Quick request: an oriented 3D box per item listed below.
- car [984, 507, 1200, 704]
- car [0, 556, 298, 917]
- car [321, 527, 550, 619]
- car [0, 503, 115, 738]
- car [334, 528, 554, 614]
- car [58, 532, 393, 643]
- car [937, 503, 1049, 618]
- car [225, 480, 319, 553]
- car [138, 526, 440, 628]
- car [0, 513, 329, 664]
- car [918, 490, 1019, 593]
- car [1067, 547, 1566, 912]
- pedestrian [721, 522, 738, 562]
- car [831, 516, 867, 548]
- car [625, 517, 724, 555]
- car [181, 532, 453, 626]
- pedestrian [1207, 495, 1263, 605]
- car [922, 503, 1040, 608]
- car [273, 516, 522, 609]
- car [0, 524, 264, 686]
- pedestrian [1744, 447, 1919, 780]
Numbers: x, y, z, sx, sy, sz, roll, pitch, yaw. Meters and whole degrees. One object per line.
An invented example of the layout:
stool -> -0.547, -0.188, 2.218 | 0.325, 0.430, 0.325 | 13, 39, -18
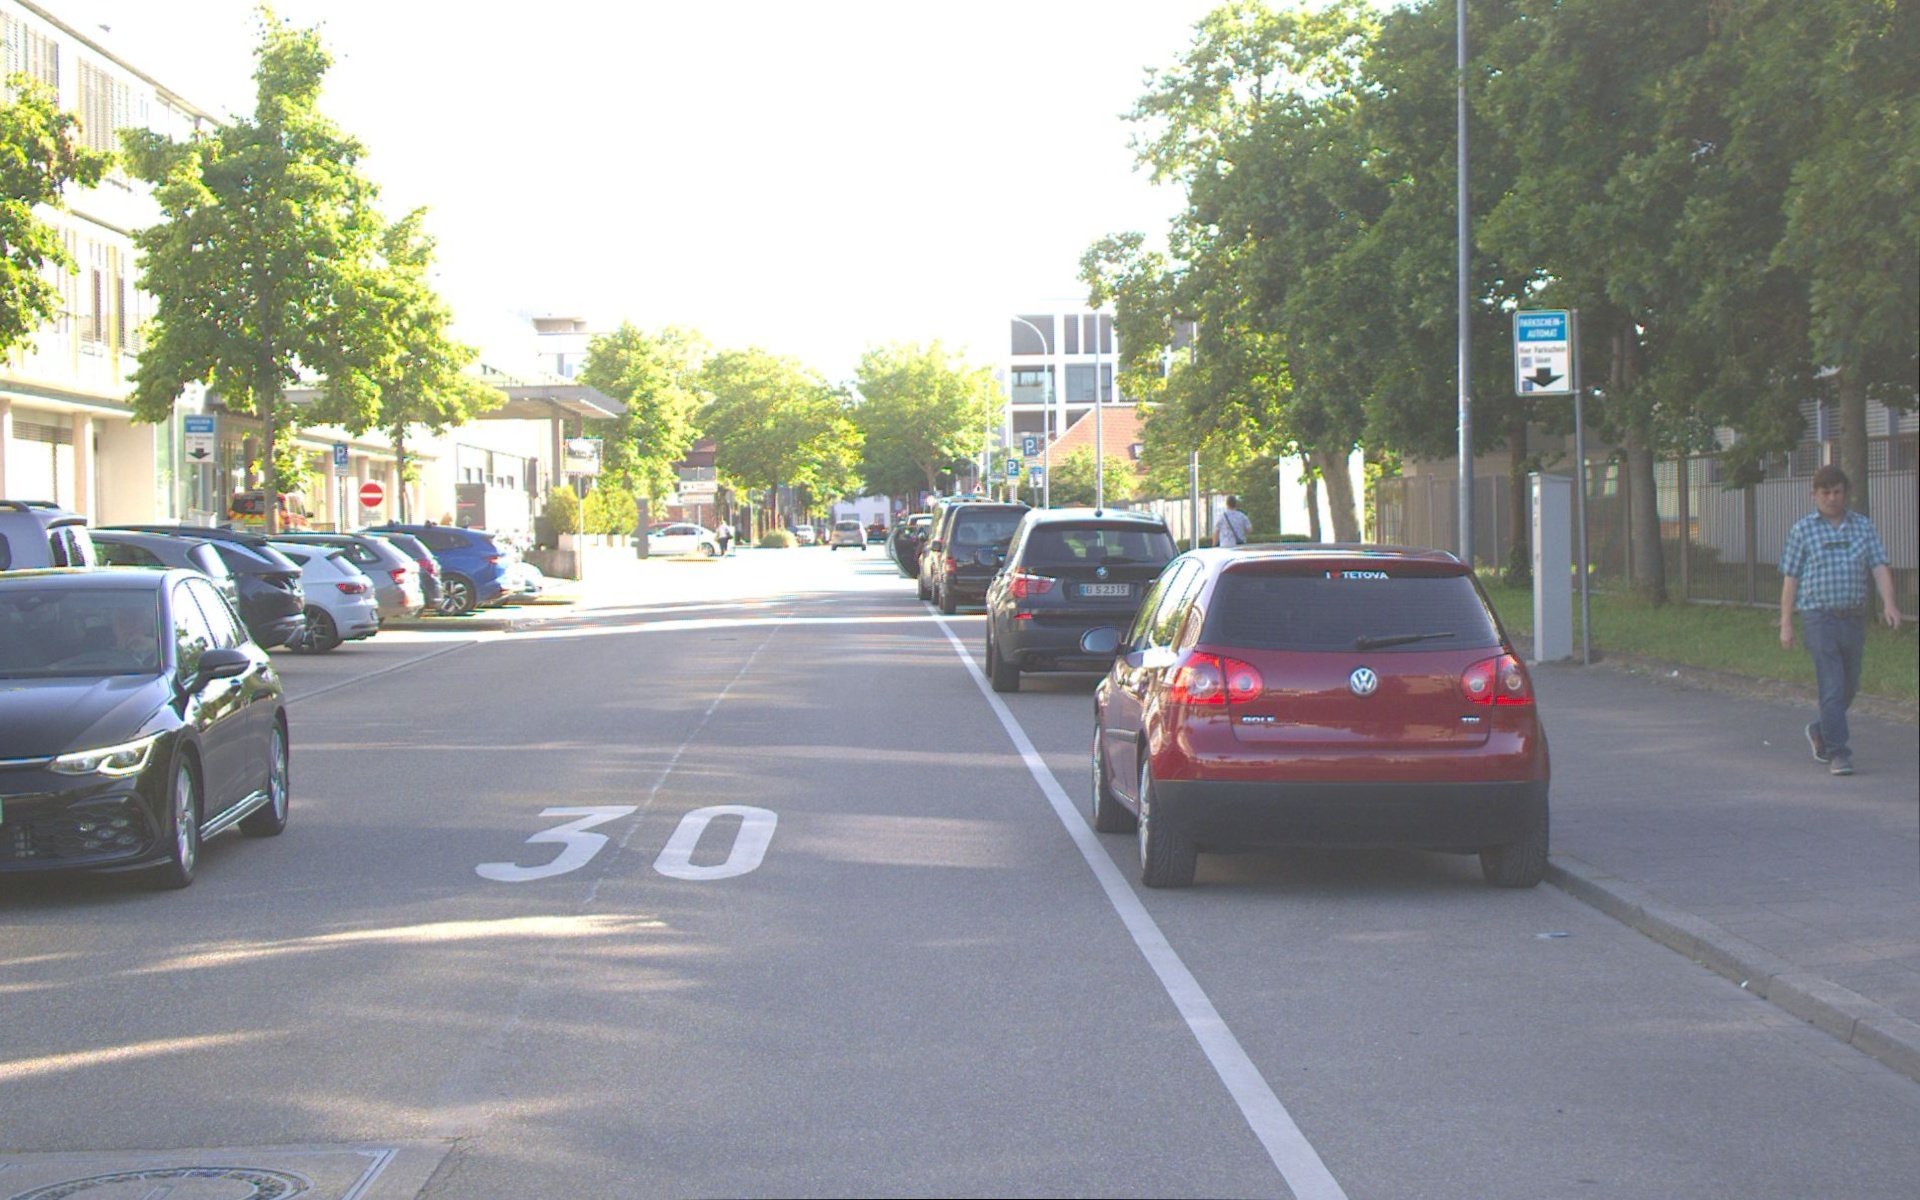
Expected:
car -> 1.164, -0.010, 32.313 | 1.812, 1.660, 4.593 | 0, 2, 0
car -> -4.345, 0.561, 16.298 | 1.703, 1.446, 4.087 | -2, 1, -2
car -> -9.647, -0.514, 63.463 | 3.986, 1.546, 2.000 | -2, 1, -4
car -> -9.536, 0.121, 28.251 | 4.742, 1.858, 1.828 | 1, 1, -1
car -> -9.864, -0.579, 65.954 | 3.986, 1.546, 2.000 | -1, 2, -4
car -> -9.326, -0.165, 43.864 | 3.986, 1.354, 1.743 | 0, 1, -5
car -> 0.513, -0.672, 57.261 | 1.733, 1.824, 3.906 | -1, 1, -1
car -> -19.899, -2.396, 99.584 | 1.993, 2.007, 4.000 | -1, 0, -2
car -> -9.906, -0.356, 51.007 | 4.213, 1.457, 1.872 | 0, 1, -5
car -> -9.267, -0.146, 38.203 | 4.245, 1.606, 2.048 | 0, 1, -5
car -> 0.142, -1.207, 69.738 | 1.874, 1.971, 4.001 | -2, 1, -2
car -> 1.521, 0.493, 16.281 | 1.719, 1.450, 4.652 | 0, 1, -2
pedestrian -> -9.316, -2.342, 139.018 | 0.618, 1.618, 0.716 | -2, 1, -1
car -> -5.519, -3.366, 170.772 | 1.743, 1.538, 4.000 | 0, 1, -1
car -> -11.993, -2.699, 144.587 | 3.987, 1.514, 2.000 | -1, 0, -1
car -> -10.510, -0.348, 56.410 | 4.213, 1.481, 1.872 | 0, 1, -5
pedestrian -> 4.308, -0.787, 53.850 | 0.698, 1.655, 0.752 | -4, 1, -2
car -> 0.351, -0.845, 63.499 | 1.993, 1.816, 4.199 | -2, 1, -2
car -> -9.937, -0.671, 61.005 | 4.213, 1.597, 1.872 | 0, 1, -5
car -> -9.267, 0.031, 35.250 | 3.986, 1.601, 1.872 | 0, 1, -5
pedestrian -> 4.819, 0.059, 18.900 | 0.717, 1.752, 0.885 | -3, 1, -1
